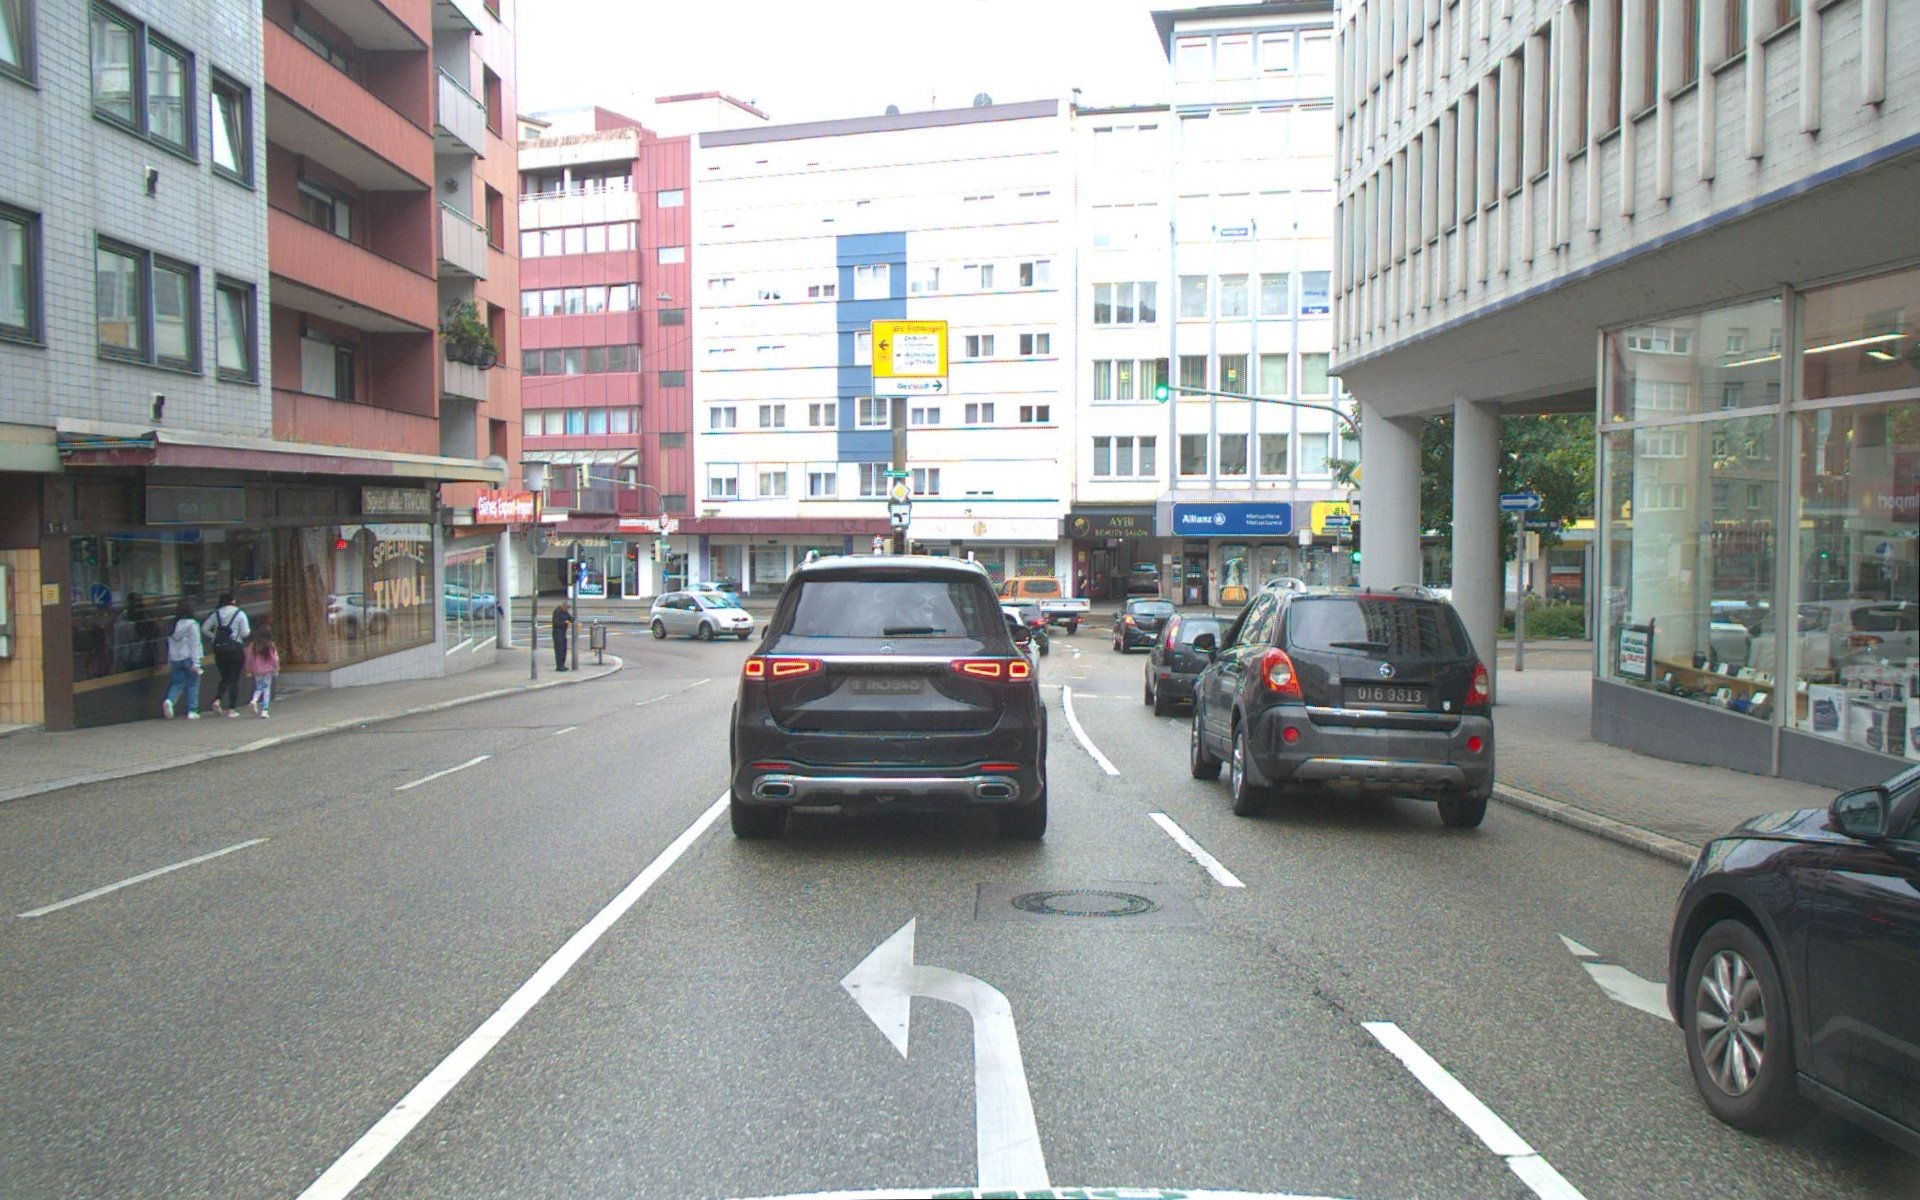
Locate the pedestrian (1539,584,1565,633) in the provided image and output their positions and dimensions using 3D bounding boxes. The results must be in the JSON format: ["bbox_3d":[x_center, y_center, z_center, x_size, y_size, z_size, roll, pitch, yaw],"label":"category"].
[{"bbox_3d":[23.412,0.326,65.427,0.807,1.859,0.890,3,2,27],"label":"pedestrian"}]

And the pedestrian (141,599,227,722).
[{"bbox_3d":[-10.340,0.796,22.068,0.812,1.588,0.722,2,0,-9],"label":"pedestrian"}]

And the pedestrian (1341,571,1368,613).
[{"bbox_3d":[16.733,-0.342,70.151,1.008,1.717,0.831,0,6,8],"label":"pedestrian"}]

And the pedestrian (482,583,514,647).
[{"bbox_3d":[-13.710,0.444,49.047,0.752,1.881,0.836,0,0,-28],"label":"pedestrian"}]

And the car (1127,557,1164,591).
[{"bbox_3d":[9.592,-1.317,85.491,1.759,1.699,4.003,-1,0,8],"label":"car"}]

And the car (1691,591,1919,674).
[{"bbox_3d":[17.072,0.593,32.352,4.764,1.521,1.847,0,0,41],"label":"car"}]

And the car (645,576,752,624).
[{"bbox_3d":[-11.286,-0.011,71.479,4.078,1.870,1.999,3,0,22],"label":"car"}]

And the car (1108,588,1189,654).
[{"bbox_3d":[5.174,0.565,45.825,1.785,1.687,4.496,1,-1,1],"label":"car"}]

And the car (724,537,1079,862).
[{"bbox_3d":[-0.407,0.558,11.800,1.998,1.830,4.661,1,0,-2],"label":"car"}]

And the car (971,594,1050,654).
[{"bbox_3d":[1.308,0.612,44.464,1.953,1.512,4.236,-1,0,0],"label":"car"}]

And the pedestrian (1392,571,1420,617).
[{"bbox_3d":[18.587,-0.260,68.940,1.008,1.829,0.831,0,6,8],"label":"pedestrian"}]

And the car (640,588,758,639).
[{"bbox_3d":[-8.872,0.436,56.104,4.099,1.620,1.731,1,2,41],"label":"car"}]

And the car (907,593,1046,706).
[{"bbox_3d":[0.342,0.678,25.027,1.834,1.521,4.402,1,0,4],"label":"car"}]

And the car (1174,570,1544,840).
[{"bbox_3d":[2.975,0.697,13.378,1.859,1.724,4.505,3,0,0],"label":"car"}]

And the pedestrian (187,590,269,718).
[{"bbox_3d":[-10.093,0.737,22.834,0.812,1.719,0.722,2,0,-9],"label":"pedestrian"}]

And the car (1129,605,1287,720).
[{"bbox_3d":[3.552,0.851,24.325,1.730,1.421,4.001,3,0,1],"label":"car"}]

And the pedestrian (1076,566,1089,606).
[{"bbox_3d":[5.468,-0.633,73.883,0.552,1.717,0.757,0,6,6],"label":"pedestrian"}]

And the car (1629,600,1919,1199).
[{"bbox_3d":[3.217,0.806,3.695,1.654,1.503,3.998,3,0,-2],"label":"car"}]

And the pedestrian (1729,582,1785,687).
[{"bbox_3d":[13.357,0.574,27.729,0.706,1.719,0.830,-2,-1,21],"label":"pedestrian"}]

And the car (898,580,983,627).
[{"bbox_3d":[-0.753,0.155,59.231,1.893,1.542,4.642,3,-1,-16],"label":"car"}]

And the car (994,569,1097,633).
[{"bbox_3d":[3.124,0.022,61.711,2.206,2.267,5.405,1,0,-16],"label":"car"}]

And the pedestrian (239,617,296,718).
[{"bbox_3d":[-9.551,0.925,22.835,0.523,1.346,0.722,2,0,-9],"label":"pedestrian"}]

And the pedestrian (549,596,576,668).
[{"bbox_3d":[-9.644,0.776,40.156,0.543,1.727,0.623,0,0,-4],"label":"pedestrian"}]
